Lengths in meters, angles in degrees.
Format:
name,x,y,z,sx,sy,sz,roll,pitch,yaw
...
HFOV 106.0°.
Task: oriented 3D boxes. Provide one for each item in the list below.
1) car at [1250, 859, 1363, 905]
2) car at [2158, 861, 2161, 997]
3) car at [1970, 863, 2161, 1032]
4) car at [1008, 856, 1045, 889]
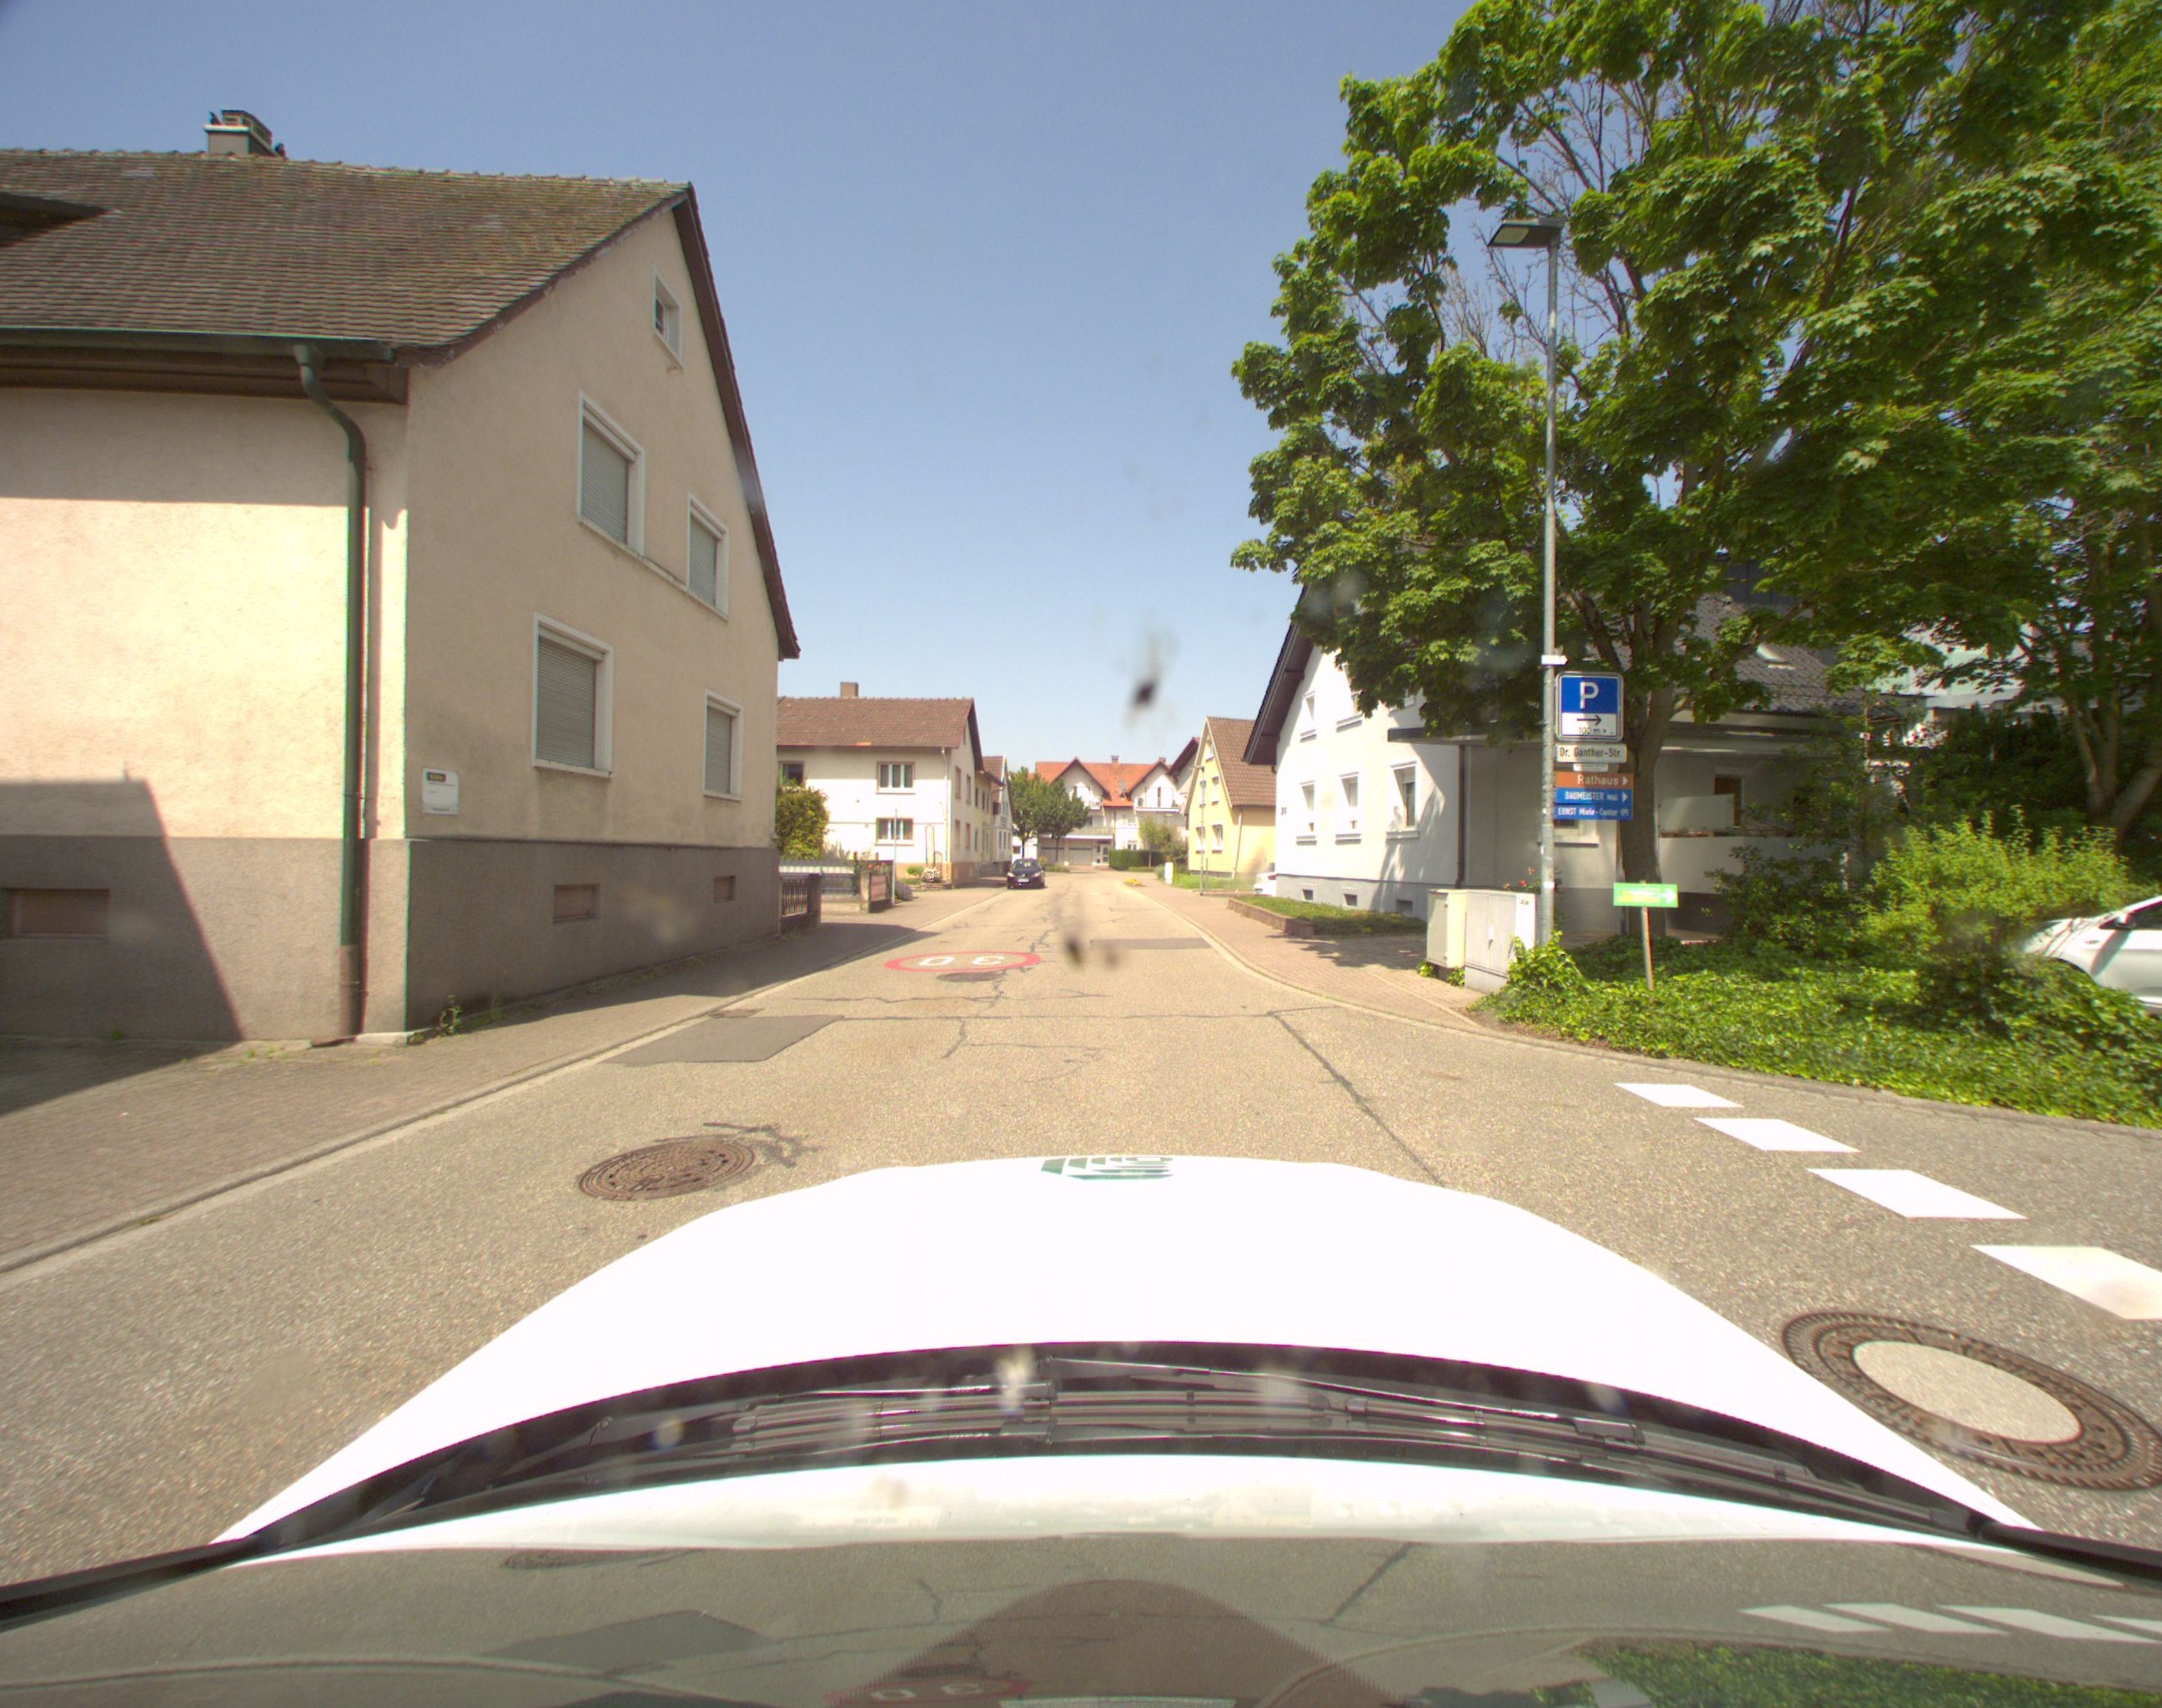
name,x,y,z,sx,sy,sz,roll,pitch,yaw
car,6.891,0.844,24.975,3.040,1.345,1.419,0,-1,-7
car,12.820,0.860,7.105,1.590,1.473,3.854,1,1,-7
car,10.276,0.848,6.830,1.590,1.445,3.560,0,1,-6
car,-2.653,0.876,40.226,1.622,1.486,3.998,-1,0,-1
